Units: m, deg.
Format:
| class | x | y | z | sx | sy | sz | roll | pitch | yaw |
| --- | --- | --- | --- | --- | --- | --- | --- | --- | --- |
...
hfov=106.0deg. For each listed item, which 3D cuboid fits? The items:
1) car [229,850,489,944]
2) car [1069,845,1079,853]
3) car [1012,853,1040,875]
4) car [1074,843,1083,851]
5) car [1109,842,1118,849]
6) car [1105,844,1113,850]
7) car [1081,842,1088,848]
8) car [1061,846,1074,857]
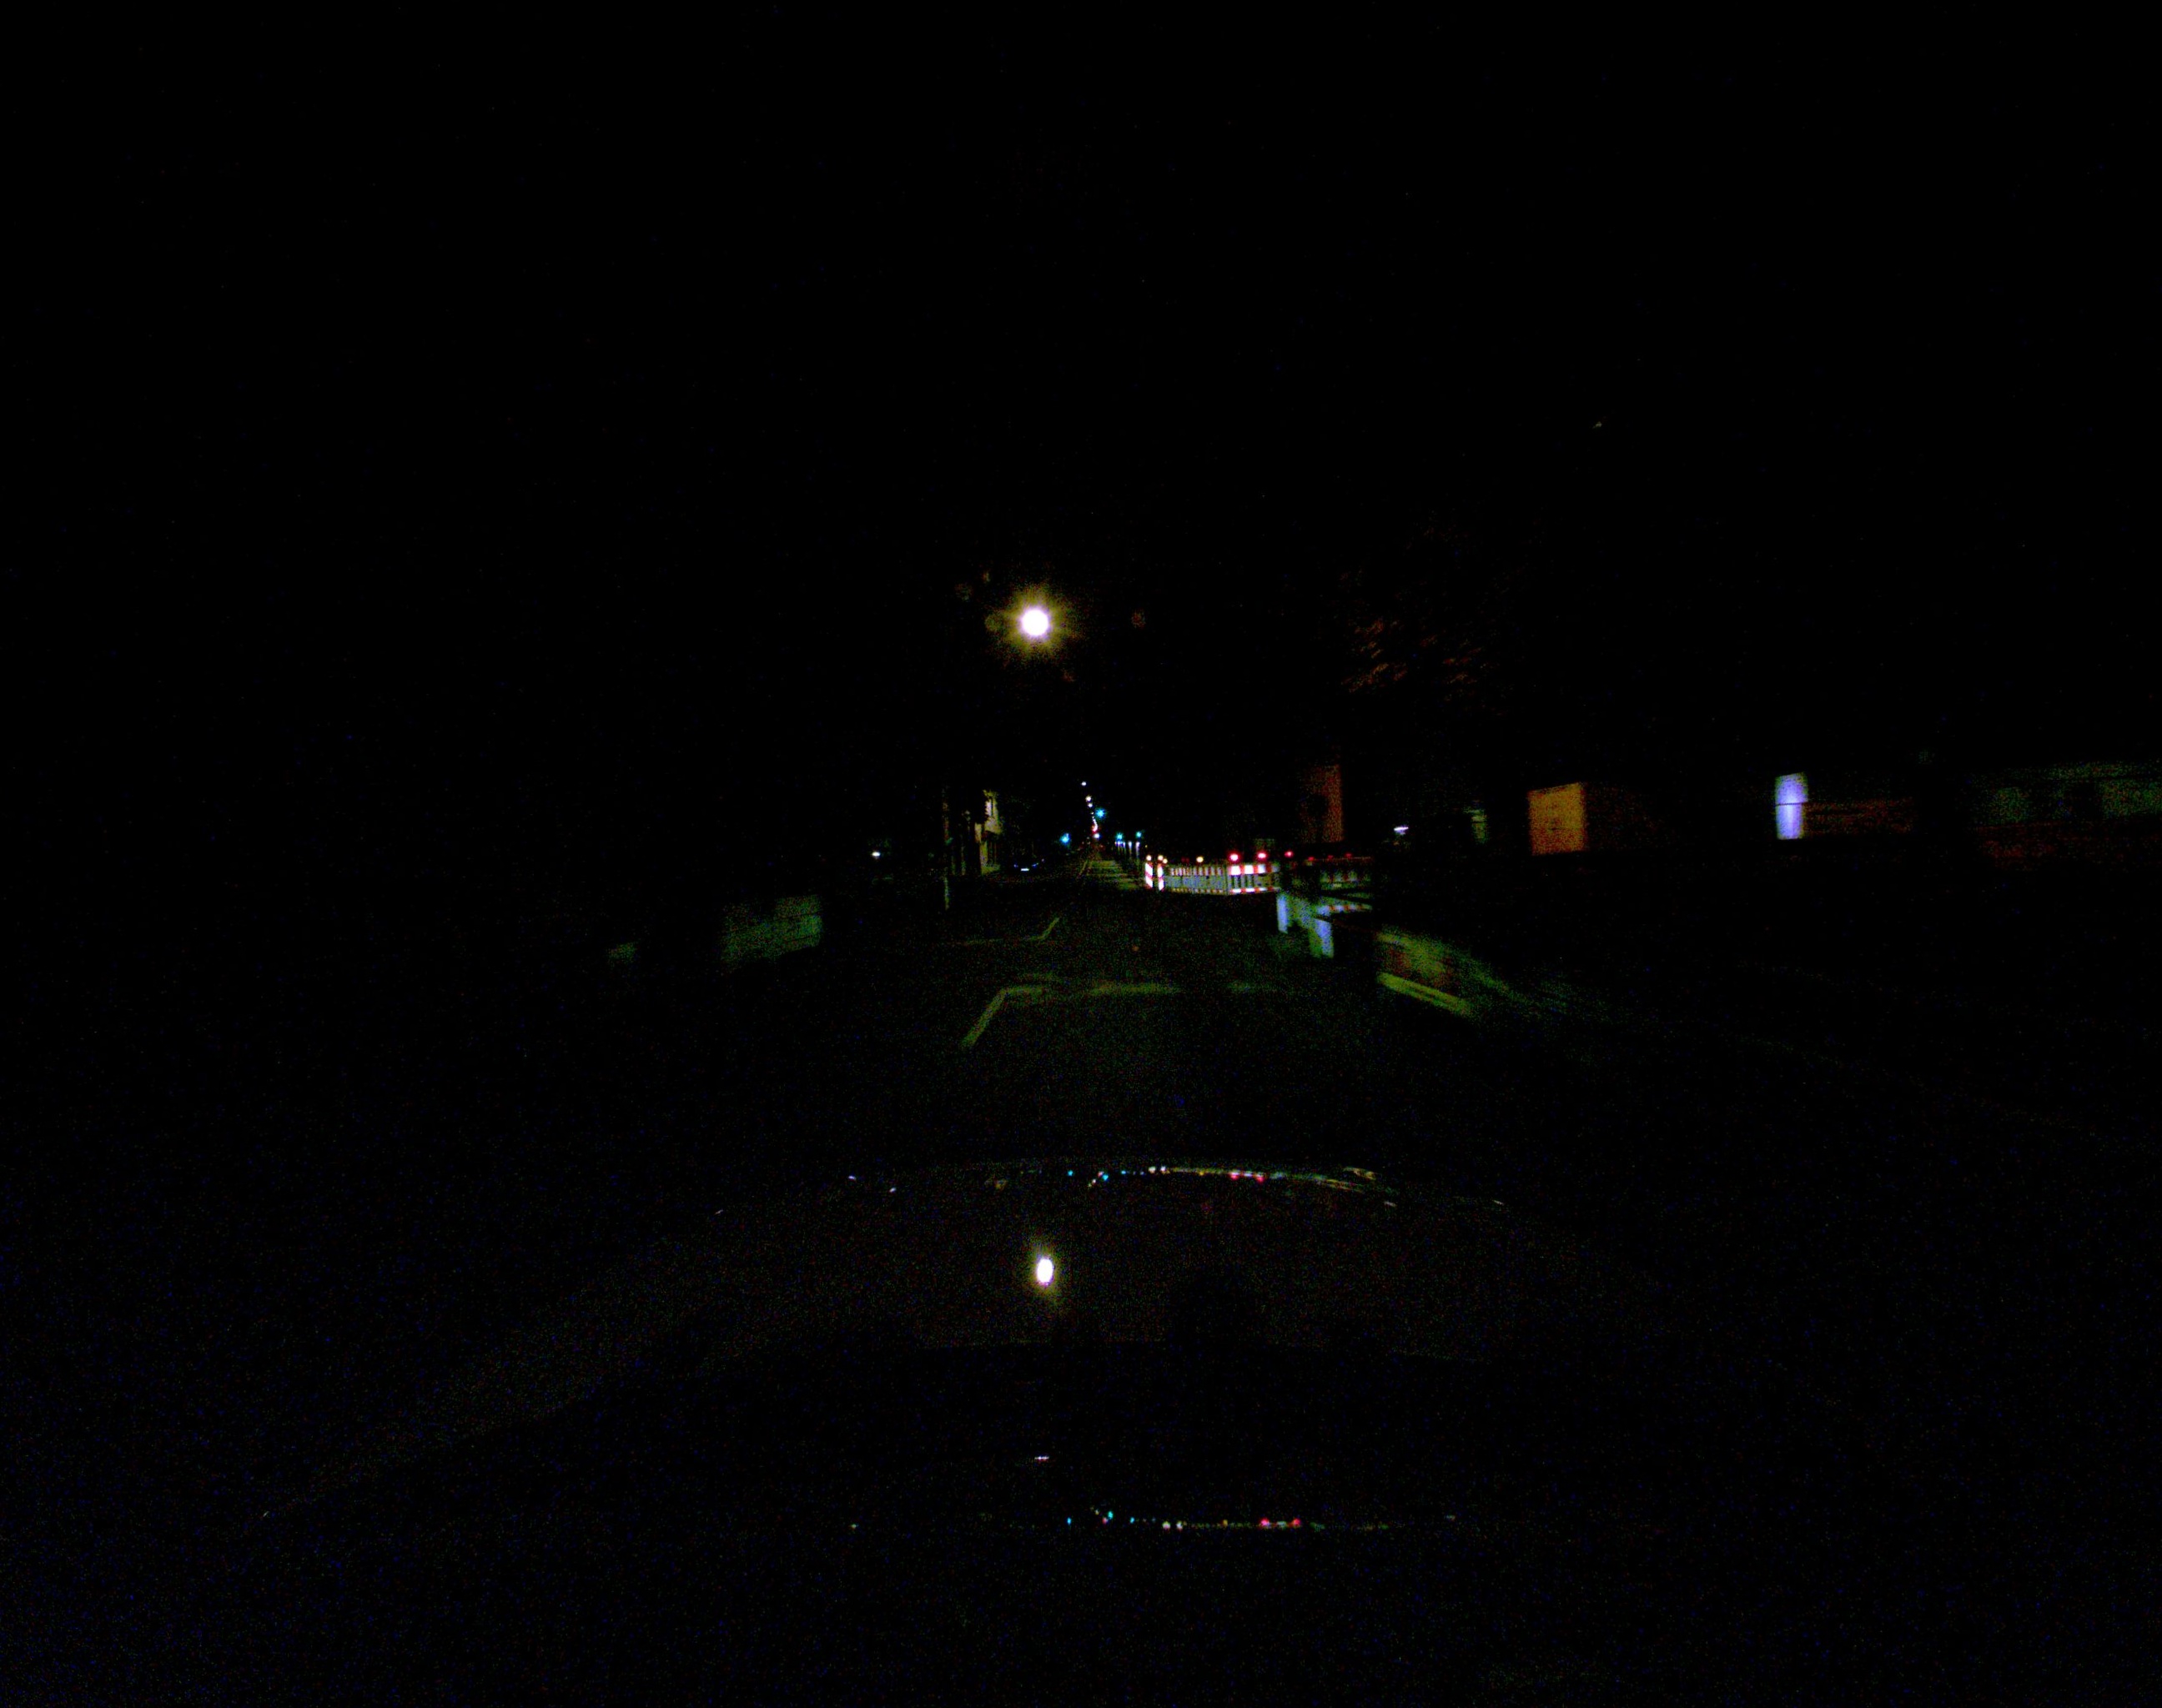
| class | x | y | z | sx | sy | sz | roll | pitch | yaw |
| --- | --- | --- | --- | --- | --- | --- | --- | --- | --- |
| car | -21.852 | 1.303 | 24.863 | 5.826 | 2.544 | 2.246 | -2 | -3 | 0 |
| car | -1.464 | -0.994 | 169.190 | 1.867 | 1.544 | 4.206 | -3 | 1 | 1 |
| car | -3.997 | 0.678 | 59.685 | 1.665 | 1.443 | 4.206 | -3 | 1 | 1 |
| car | -0.584 | -1.566 | 193.343 | 1.867 | 1.814 | 4.206 | -3 | 0 | 1 |
| car | 7.267 | -1.850 | 181.970 | 1.867 | 1.544 | 4.206 | -3 | 1 | 1 |
| car | 7.574 | -2.016 | 220.930 | 1.867 | 1.544 | 4.206 | -3 | 1 | 1 |
| car | 1.041 | -2.984 | 259.523 | 2.069 | 1.814 | 4.207 | -2 | 0 | 2 |
| car | -2.170 | -0.406 | 131.492 | 1.867 | 1.544 | 4.206 | -3 | 1 | 1 |
